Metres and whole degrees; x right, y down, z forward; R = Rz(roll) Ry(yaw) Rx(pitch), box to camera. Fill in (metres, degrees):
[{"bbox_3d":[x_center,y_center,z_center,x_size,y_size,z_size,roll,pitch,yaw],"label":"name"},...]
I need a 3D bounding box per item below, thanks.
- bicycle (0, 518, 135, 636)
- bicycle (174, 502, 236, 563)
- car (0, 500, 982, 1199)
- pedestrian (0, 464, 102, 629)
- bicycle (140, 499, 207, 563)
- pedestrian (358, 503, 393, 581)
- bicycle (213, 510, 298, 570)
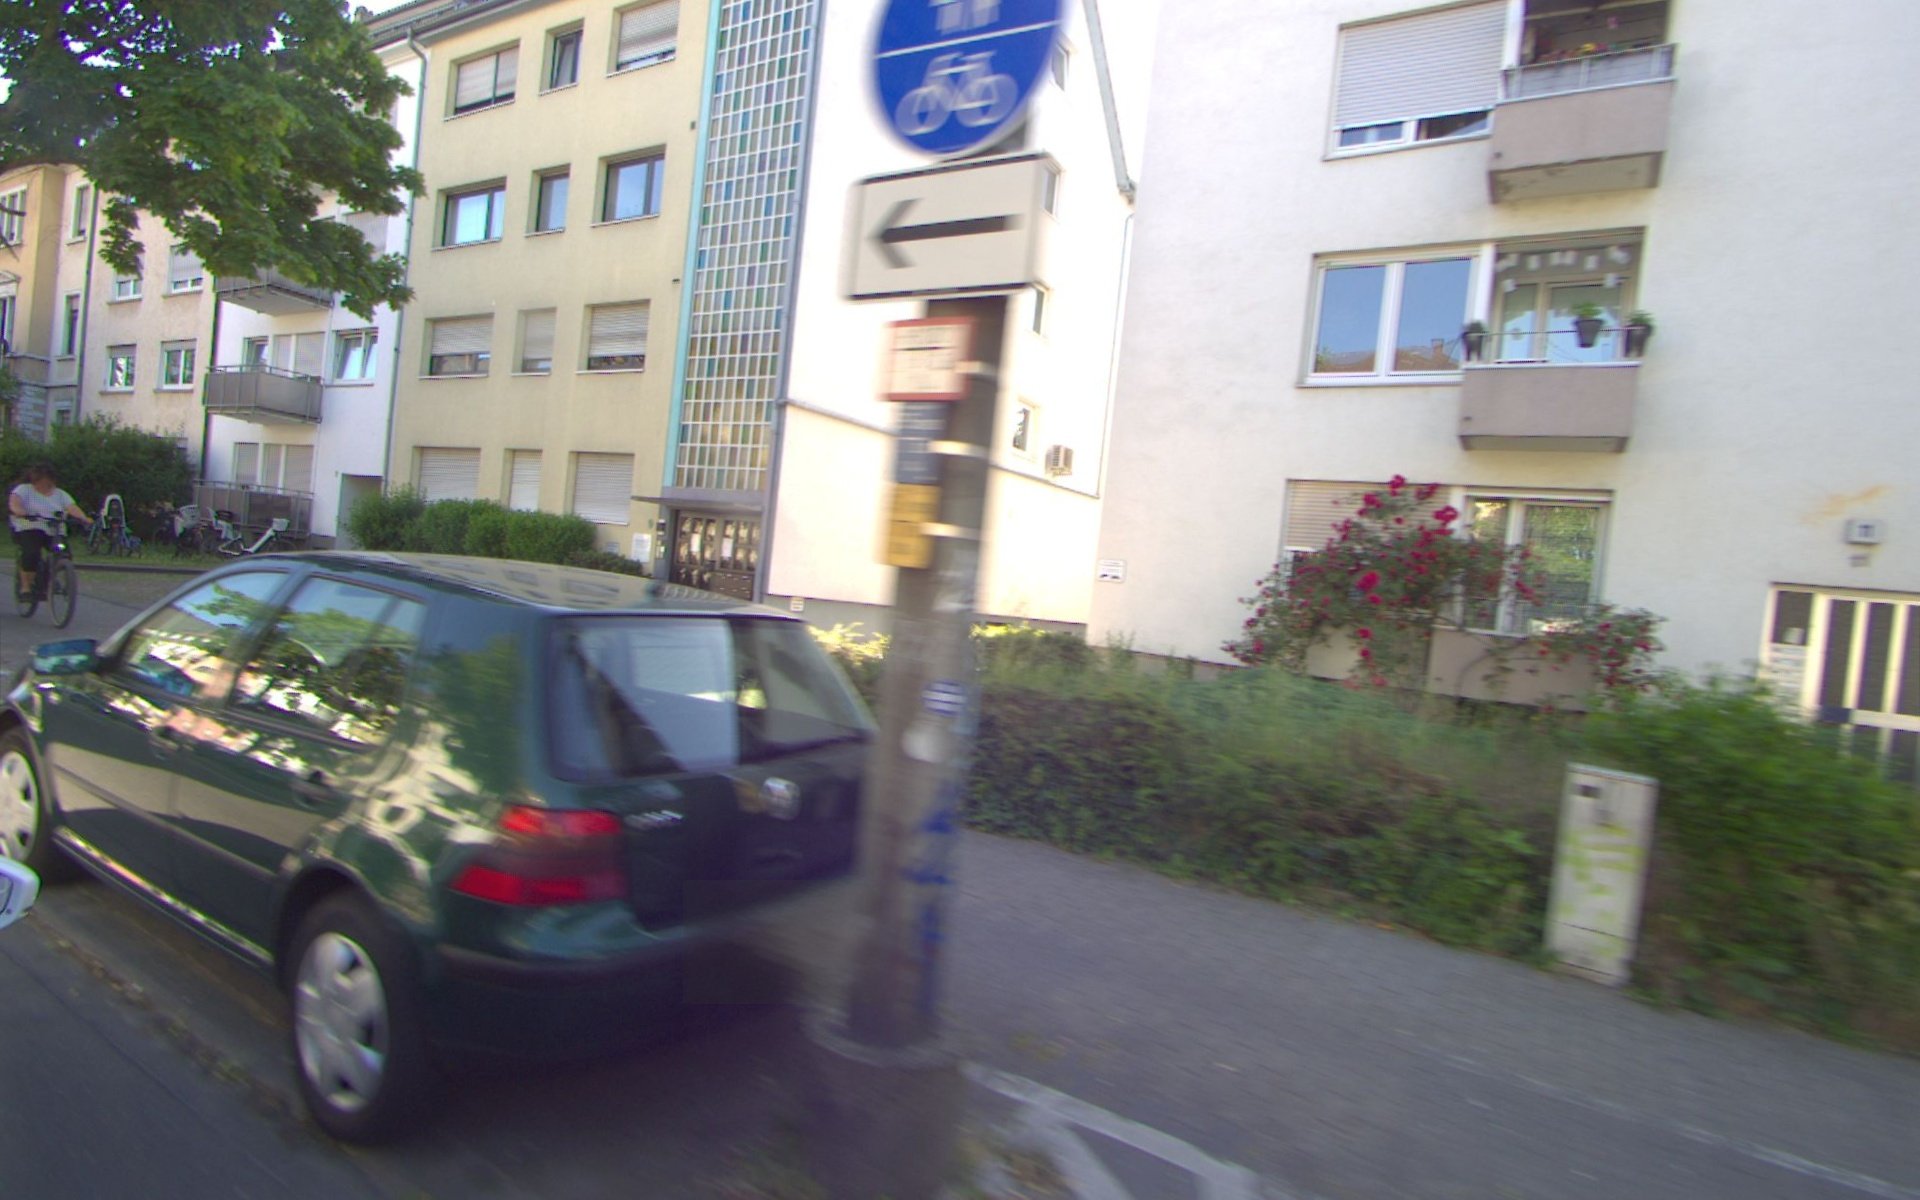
[{"bbox_3d":[-10.004,-0.276,11.120,2.092,1.084,0.682,7,2,32],"label":"bicycle"},{"bbox_3d":[-17.992,-1.621,23.966,1.661,1.305,0.591,7,4,32],"label":"bicycle"},{"bbox_3d":[-2.148,0.529,3.848,4.079,1.446,1.692,7,2,33],"label":"car"},{"bbox_3d":[-10.061,-0.583,11.062,0.763,1.704,0.670,7,2,31],"label":"pedestrian"},{"bbox_3d":[-18.226,-1.600,23.304,1.812,1.305,0.622,7,4,32],"label":"bicycle"},{"bbox_3d":[-13.634,-1.348,23.464,0.360,1.756,0.365,7,-1,26],"label":"pedestrian"},{"bbox_3d":[-16.241,-1.379,23.207,1.521,1.240,0.460,3,4,-28],"label":"bicycle"}]
